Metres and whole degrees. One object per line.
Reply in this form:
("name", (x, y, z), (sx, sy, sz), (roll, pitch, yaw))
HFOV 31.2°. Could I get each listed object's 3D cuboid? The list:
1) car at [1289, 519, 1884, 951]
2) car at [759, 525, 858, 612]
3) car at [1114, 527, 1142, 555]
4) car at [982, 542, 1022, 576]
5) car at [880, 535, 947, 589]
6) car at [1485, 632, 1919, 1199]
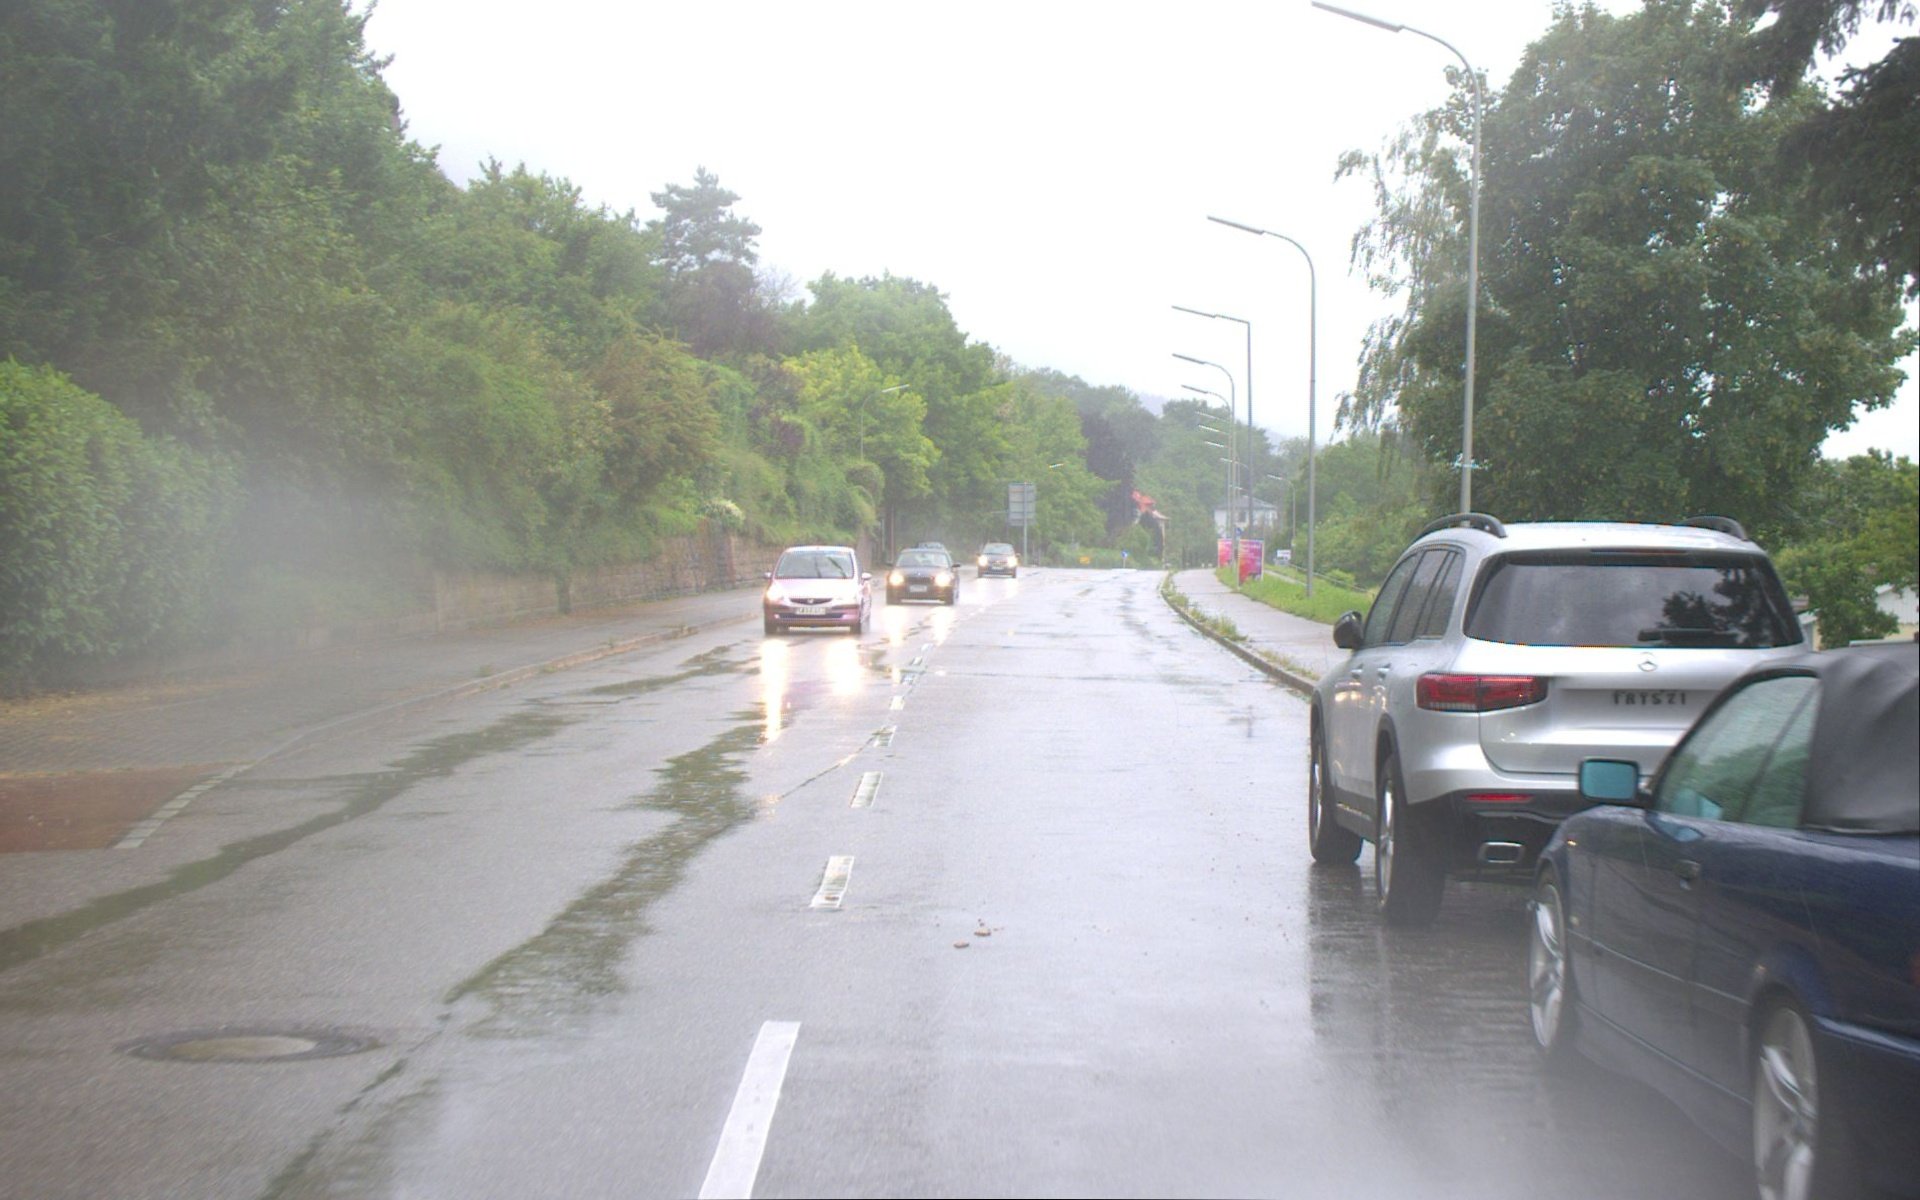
("car", (2.586, 0.485, 15.230), (1.815, 1.640, 4.395), (0, 1, 0))
("car", (-2.616, -0.555, 59.541), (1.662, 1.456, 3.662), (0, 1, -2))
("car", (12.358, -4.352, 252.622), (1.994, 2.007, 4.000), (1, 0, 2))
("car", (1.839, -1.801, 150.674), (1.760, 1.491, 4.127), (0, 1, 1))
("car", (-1.160, -0.974, 87.574), (1.654, 1.347, 3.987), (0, 1, 0))
("car", (2.468, 0.768, 8.545), (1.630, 1.277, 4.448), (0, 1, 0))
